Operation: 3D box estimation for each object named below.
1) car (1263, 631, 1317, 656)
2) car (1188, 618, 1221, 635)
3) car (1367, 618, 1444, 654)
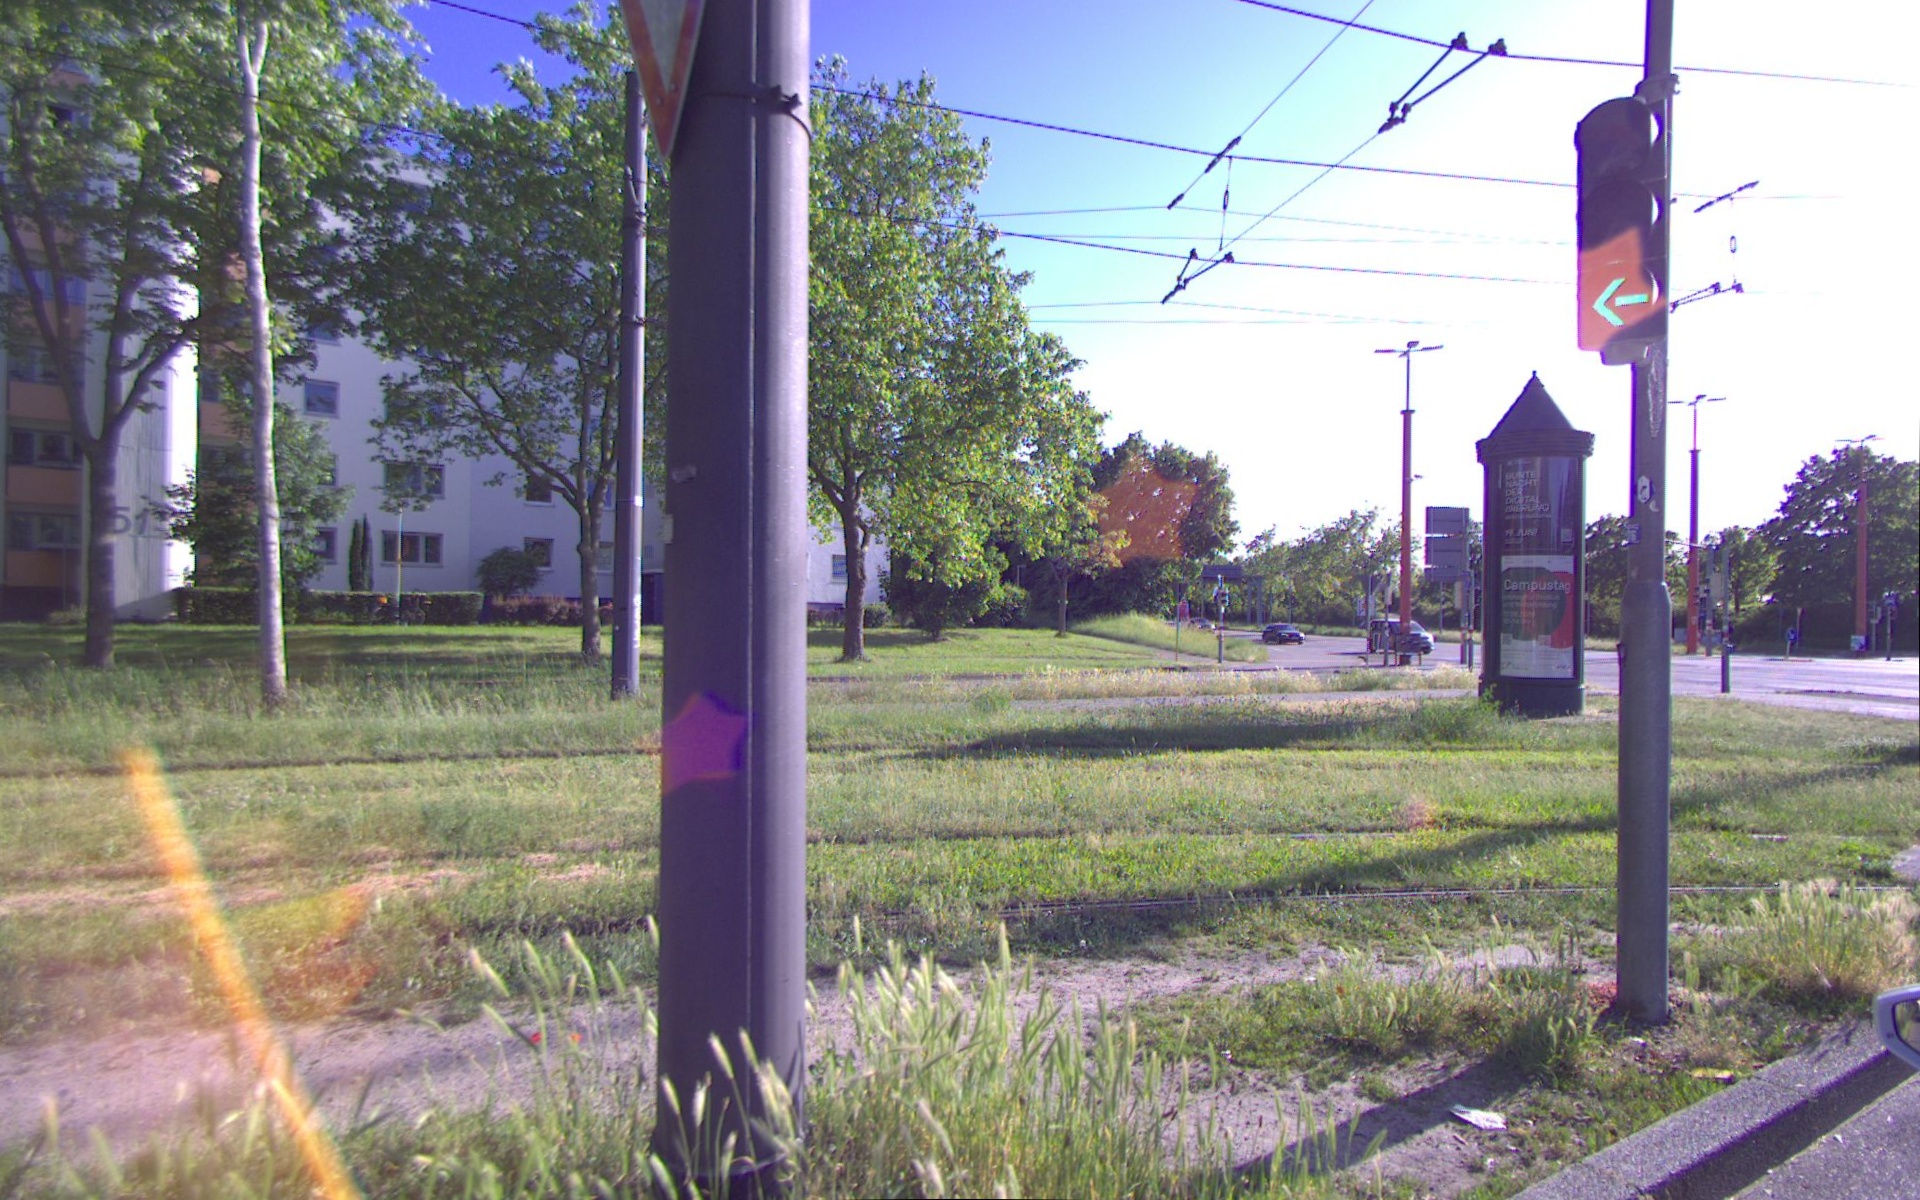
[{"bbox_3d":[22.561,2.953,68.804,1.868,1.494,4.562,-1,-1,-5],"label":"car"},{"bbox_3d":[24.433,2.665,100.566,1.868,1.632,4.563,-1,-1,-4],"label":"car"},{"bbox_3d":[23.586,1.861,53.358,1.868,1.799,4.444,-1,-1,-4],"label":"car"}]
